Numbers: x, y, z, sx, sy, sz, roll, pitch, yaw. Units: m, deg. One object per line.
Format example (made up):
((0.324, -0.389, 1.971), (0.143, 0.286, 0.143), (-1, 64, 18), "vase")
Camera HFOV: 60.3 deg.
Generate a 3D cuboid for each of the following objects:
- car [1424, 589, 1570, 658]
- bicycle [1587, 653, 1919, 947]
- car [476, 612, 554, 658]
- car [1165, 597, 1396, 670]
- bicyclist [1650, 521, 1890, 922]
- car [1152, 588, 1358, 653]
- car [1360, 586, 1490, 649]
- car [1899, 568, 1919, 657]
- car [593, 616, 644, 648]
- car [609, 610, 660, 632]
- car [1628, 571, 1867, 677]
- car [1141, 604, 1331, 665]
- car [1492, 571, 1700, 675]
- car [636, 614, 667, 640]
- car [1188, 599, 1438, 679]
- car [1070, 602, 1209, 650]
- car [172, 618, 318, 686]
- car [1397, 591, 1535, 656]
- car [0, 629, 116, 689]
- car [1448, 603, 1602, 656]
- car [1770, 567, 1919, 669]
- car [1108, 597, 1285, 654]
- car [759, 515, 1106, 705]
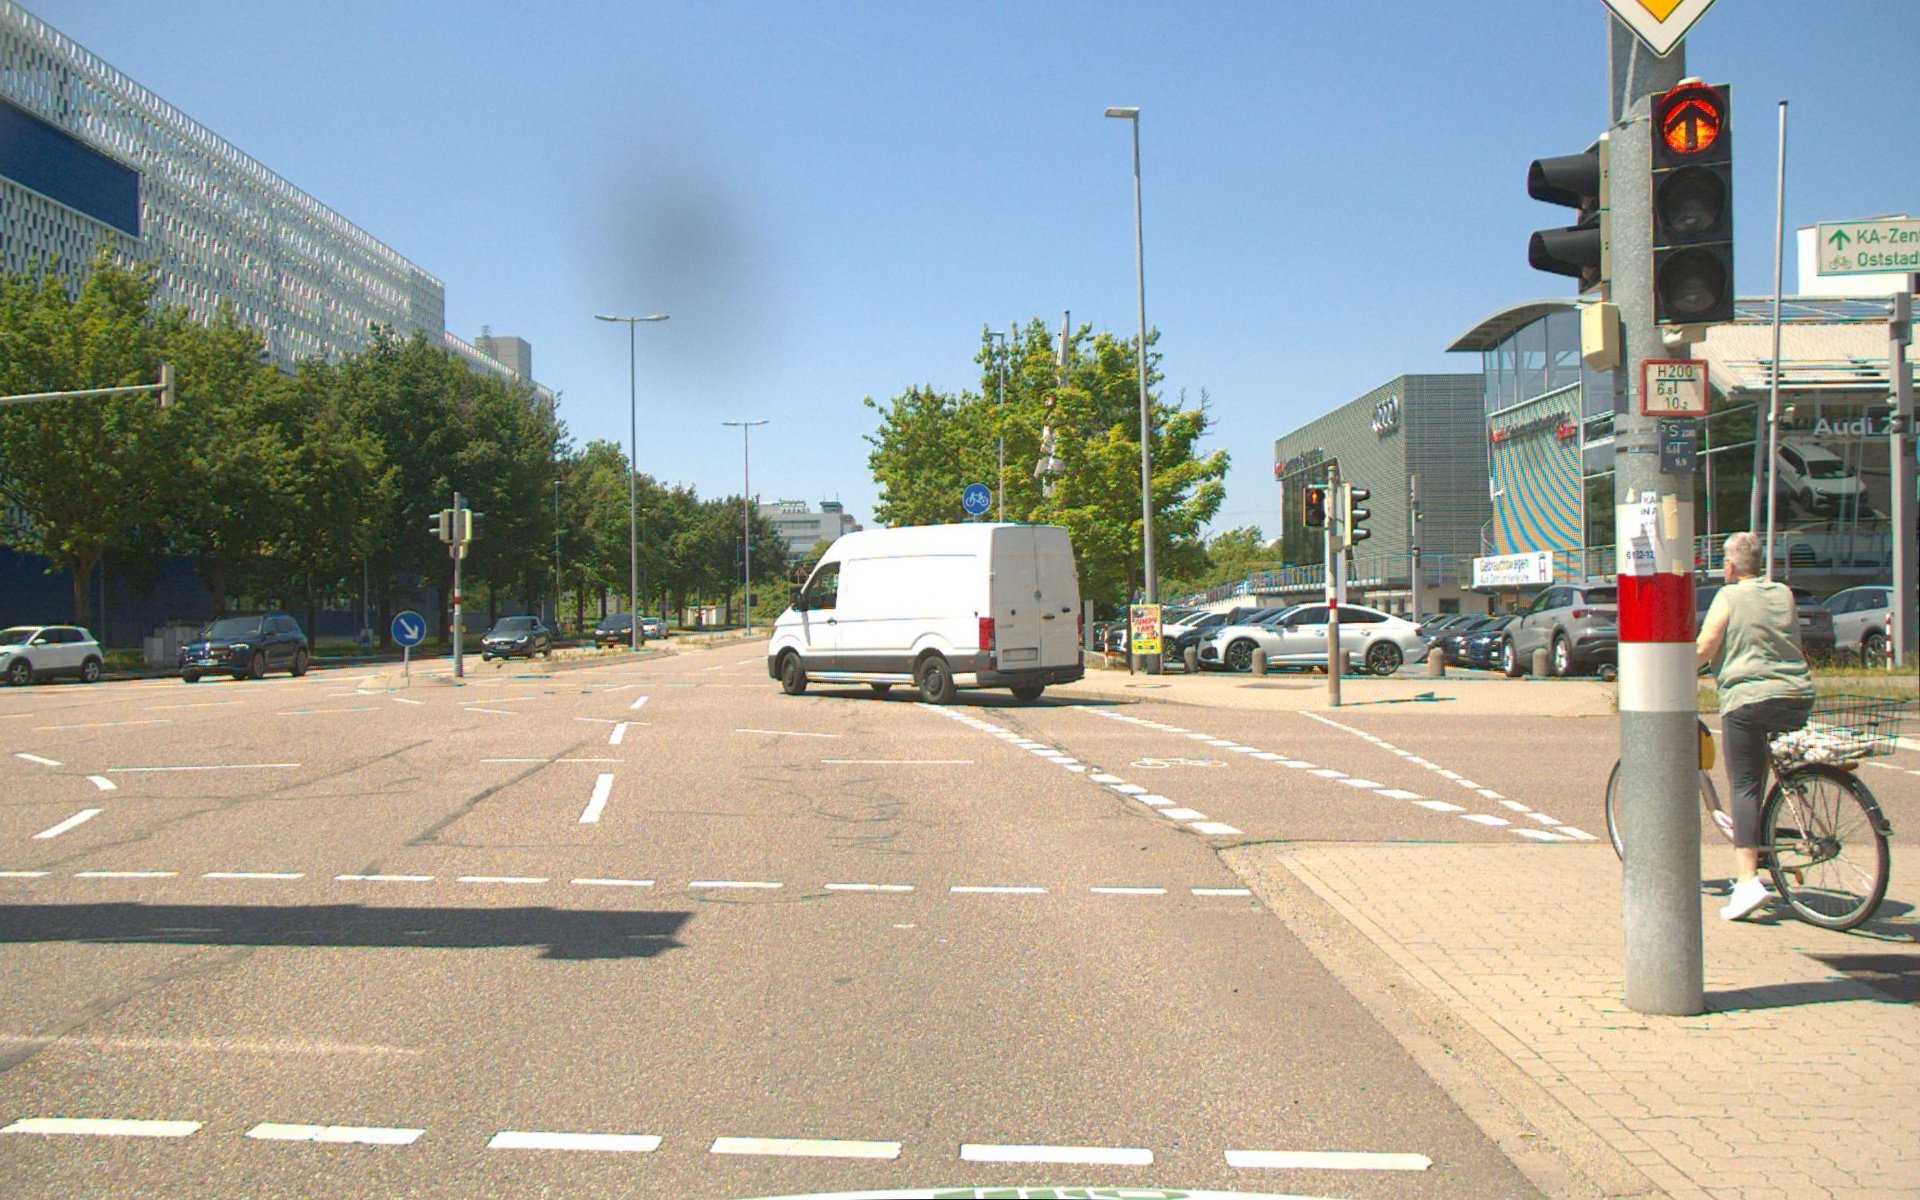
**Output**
((16.775, 0.722, 51.807), (3.905, 2.049, 2.000), (-1, 0, 0), "car")
((3.792, 0.862, 7.868), (0.771, 1.147, 1.919), (0, 0, -4), "bicycle")
((-15.404, 1.201, 57.415), (1.697, 1.452, 3.705), (-3, -1, -1), "car")
((6.890, 0.723, 35.908), (4.643, 1.482, 2.000), (-1, -1, 1), "car")
((3.774, 0.540, 7.755), (0.719, 1.779, 0.753), (0, 0, -5), "bicyclist")
((7.079, 0.480, 40.034), (4.643, 1.482, 2.000), (-1, 0, 1), "car")
((15.970, 0.586, 56.980), (3.905, 2.049, 2.000), (-1, 0, 0), "car")
((18.877, 0.227, 29.284), (1.847, 1.668, 4.524), (-1, 0, -1), "car")
((-15.979, 1.484, 77.418), (1.650, 1.436, 3.664), (-1, -1, -1), "car")
((-29.283, 1.855, 148.885), (3.930, 1.842, 2.002), (1, 0, 14), "car")
((13.682, 0.370, 29.078), (1.953, 1.668, 4.557), (-1, 0, -1), "car")
((7.269, 0.889, 43.858), (4.646, 1.482, 1.999), (-1, 0, -3), "car")
((11.077, 0.362, 29.158), (1.953, 1.668, 4.267), (-1, 0, -1), "car")
((-20.696, 1.800, 111.128), (1.617, 1.682, 4.159), (-1, 0, -5), "car")
((7.045, 0.765, 33.363), (4.643, 1.482, 2.000), (-1, 0, 1), "car")
((6.360, 0.908, 58.911), (4.646, 1.482, 1.999), (-2, 0, -3), "car")
((-18.269, 1.290, 42.499), (1.837, 1.626, 4.495), (-1, -1, -1), "car")
((16.666, 0.765, 54.621), (3.905, 2.049, 2.000), (-1, 0, 0), "car")
((-24.770, 1.556, 44.246), (1.587, 1.483, 4.073), (-1, -1, 14), "car")
((16.861, 0.873, 49.466), (4.008, 1.486, 1.719), (-1, 0, 0), "car")
((16.476, 0.257, 29.355), (1.953, 1.668, 4.440), (-1, 0, -1), "car")
((6.616, 0.708, 46.646), (4.646, 1.482, 1.999), (-1, 0, -3), "car")
((-0.563, 0.164, 25.228), (2.085, 2.578, 5.711), (0, -1, -42), "car")
